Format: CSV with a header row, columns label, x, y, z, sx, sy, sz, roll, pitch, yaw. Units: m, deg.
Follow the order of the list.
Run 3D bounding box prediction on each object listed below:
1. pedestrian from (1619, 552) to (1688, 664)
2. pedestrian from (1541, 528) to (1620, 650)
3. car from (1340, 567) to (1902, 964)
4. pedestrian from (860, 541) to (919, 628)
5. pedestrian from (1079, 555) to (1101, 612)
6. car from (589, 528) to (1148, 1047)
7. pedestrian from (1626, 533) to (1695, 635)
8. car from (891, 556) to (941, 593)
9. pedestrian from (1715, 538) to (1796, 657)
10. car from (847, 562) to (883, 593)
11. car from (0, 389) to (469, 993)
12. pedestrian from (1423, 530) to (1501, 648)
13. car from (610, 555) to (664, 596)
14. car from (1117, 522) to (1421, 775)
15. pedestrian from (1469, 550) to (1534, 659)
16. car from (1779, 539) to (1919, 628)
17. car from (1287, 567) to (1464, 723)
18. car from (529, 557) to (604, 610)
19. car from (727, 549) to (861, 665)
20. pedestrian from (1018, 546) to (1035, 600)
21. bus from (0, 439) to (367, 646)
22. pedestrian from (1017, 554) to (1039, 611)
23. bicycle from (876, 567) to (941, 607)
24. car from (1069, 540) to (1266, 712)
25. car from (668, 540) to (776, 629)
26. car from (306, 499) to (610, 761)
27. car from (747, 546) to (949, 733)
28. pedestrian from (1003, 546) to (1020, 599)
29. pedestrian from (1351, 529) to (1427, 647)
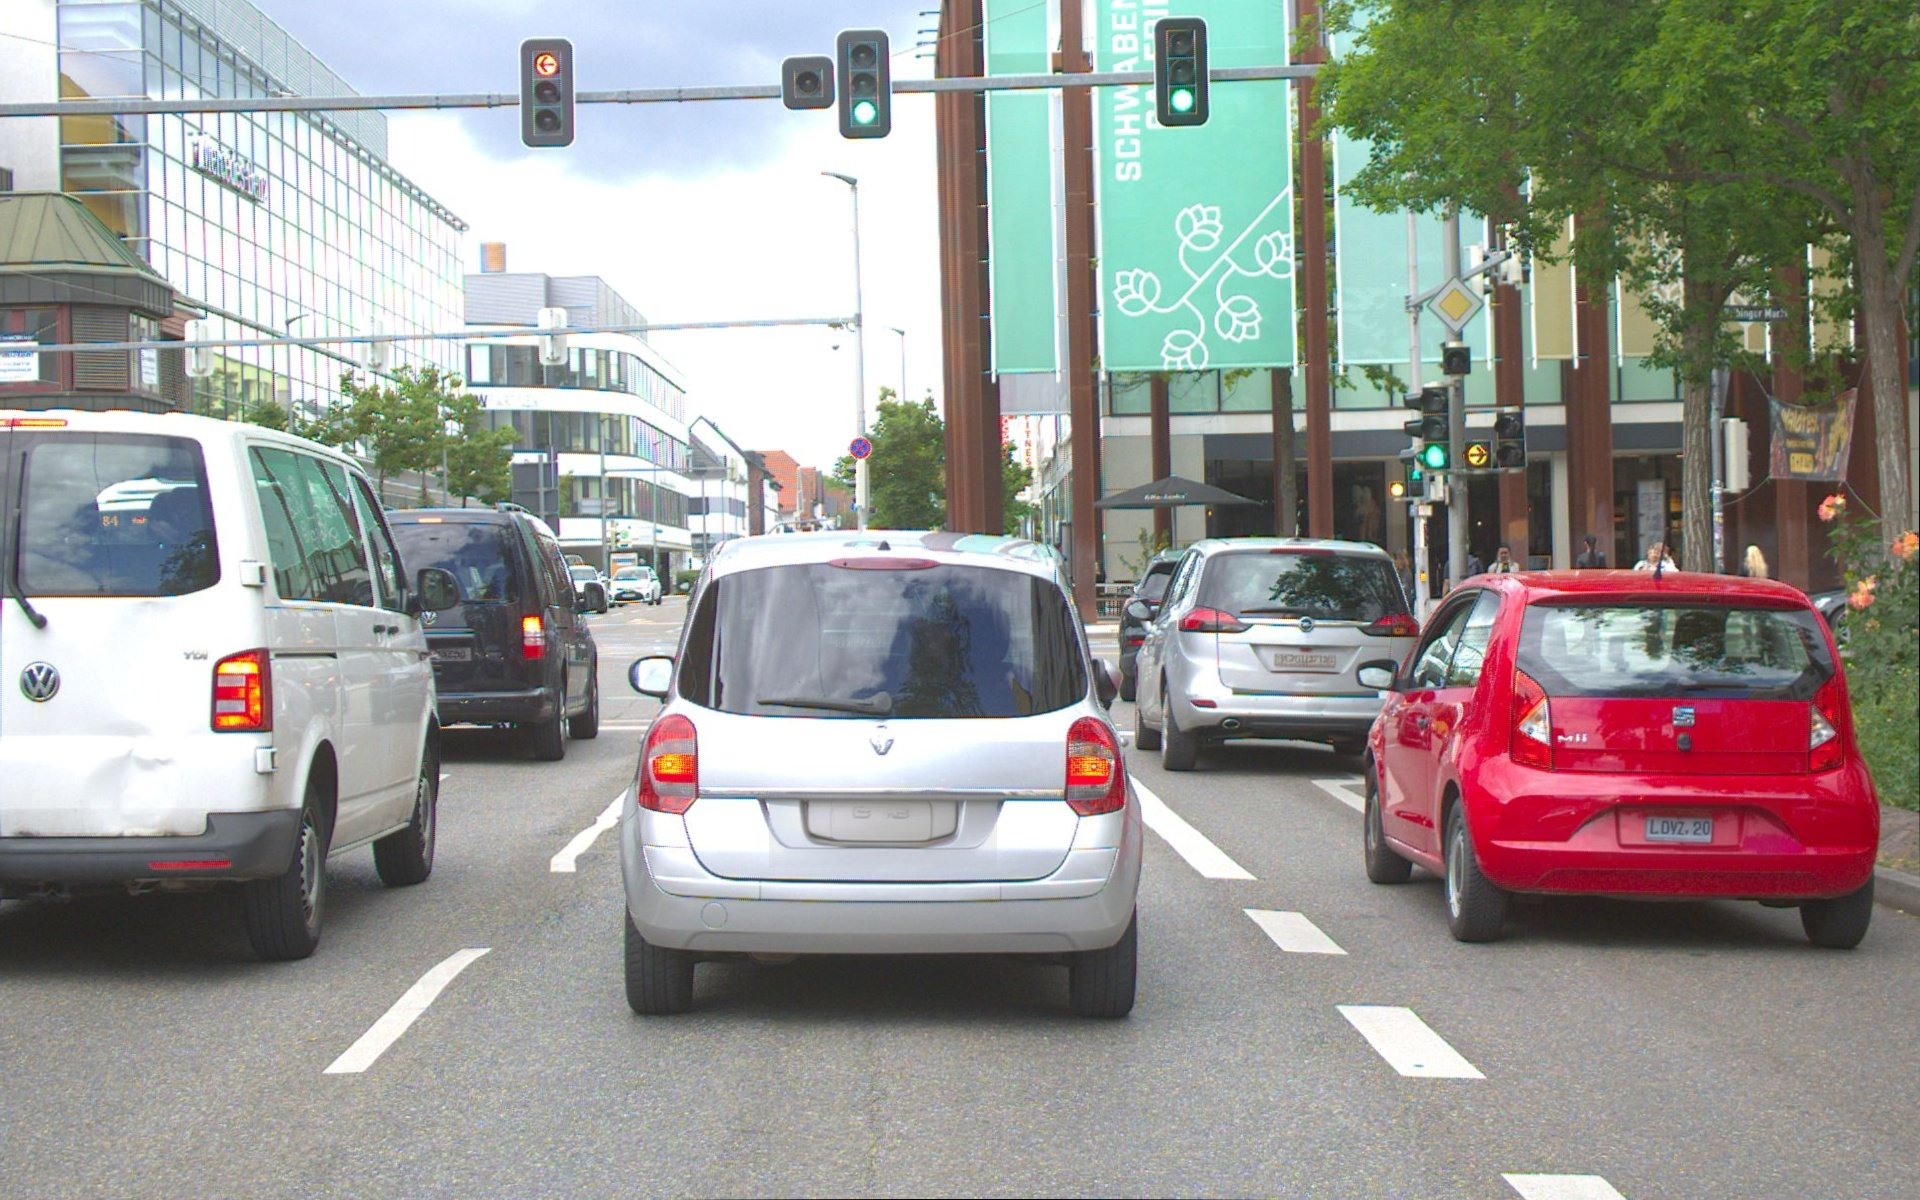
label,x,y,z,sx,sy,sz,roll,pitch,yaw
pedestrian,10.293,0.111,51.057,0.741,1.620,0.954,-1,1,-4
pedestrian,9.107,-0.166,50.497,0.878,1.761,1.120,-1,1,-4
car,2.671,0.603,14.665,1.626,1.443,3.642,1,1,-1
pedestrian,-1.334,-0.294,65.046,0.871,1.641,0.679,0,1,34
pedestrian,2.768,-0.354,73.052,0.447,1.216,0.606,-1,1,3
car,-0.302,0.545,12.244,1.669,1.549,3.642,1,1,-1
pedestrian,11.033,-0.258,54.165,0.821,1.589,1.039,-1,1,-3
car,-1.658,-0.973,130.693,1.877,1.330,4.000,1,1,0
pedestrian,11.953,-0.043,51.705,0.878,1.761,1.120,-1,1,-4
car,-4.697,-1.125,170.417,1.660,1.460,4.000,-2,1,0
car,-3.299,0.266,13.871,1.993,2.007,4.840,1,1,-1
pedestrian,7.327,-0.167,50.214,0.878,1.675,1.120,-1,1,-4
car,-12.303,-0.939,131.108,1.660,1.460,4.000,-2,1,0
car,2.210,0.303,25.645,1.739,1.695,4.381,1,1,-1
pedestrian,8.220,0.059,52.218,0.741,1.620,0.954,-1,1,-4
car,15.576,-0.280,55.662,4.172,1.399,1.801,0,1,-3
car,4.764,0.456,38.943,1.852,1.603,4.860,1,1,8
car,-11.523,-0.510,100.908,1.744,1.454,4.235,-2,1,-1
car,-2.211,0.067,46.529,1.669,1.490,3.642,1,1,-1
pedestrian,1.932,-0.784,100.238,0.427,1.544,0.481,-1,1,-3
bus,-14.294,-1.107,63.997,2.988,3.316,12.304,-3,1,6
pedestrian,1.441,-0.372,73.117,0.447,1.216,0.606,-1,1,2
bicycle,-1.290,-0.326,86.568,1.561,0.989,0.752,-1,1,3
car,2.141,0.229,36.546,1.739,1.695,4.381,1,1,-1
car,-4.134,-0.292,60.163,1.669,1.490,3.642,1,1,-1
car,-3.758,0.180,26.446,1.707,1.814,4.572,1,1,-1
car,-0.968,0.307,30.677,1.669,1.549,3.642,1,1,-1
pedestrian,1.503,-0.794,100.262,0.427,1.544,0.481,-1,1,-3
pedestrian,6.238,-0.180,50.069,0.878,1.675,1.120,-1,1,-4
